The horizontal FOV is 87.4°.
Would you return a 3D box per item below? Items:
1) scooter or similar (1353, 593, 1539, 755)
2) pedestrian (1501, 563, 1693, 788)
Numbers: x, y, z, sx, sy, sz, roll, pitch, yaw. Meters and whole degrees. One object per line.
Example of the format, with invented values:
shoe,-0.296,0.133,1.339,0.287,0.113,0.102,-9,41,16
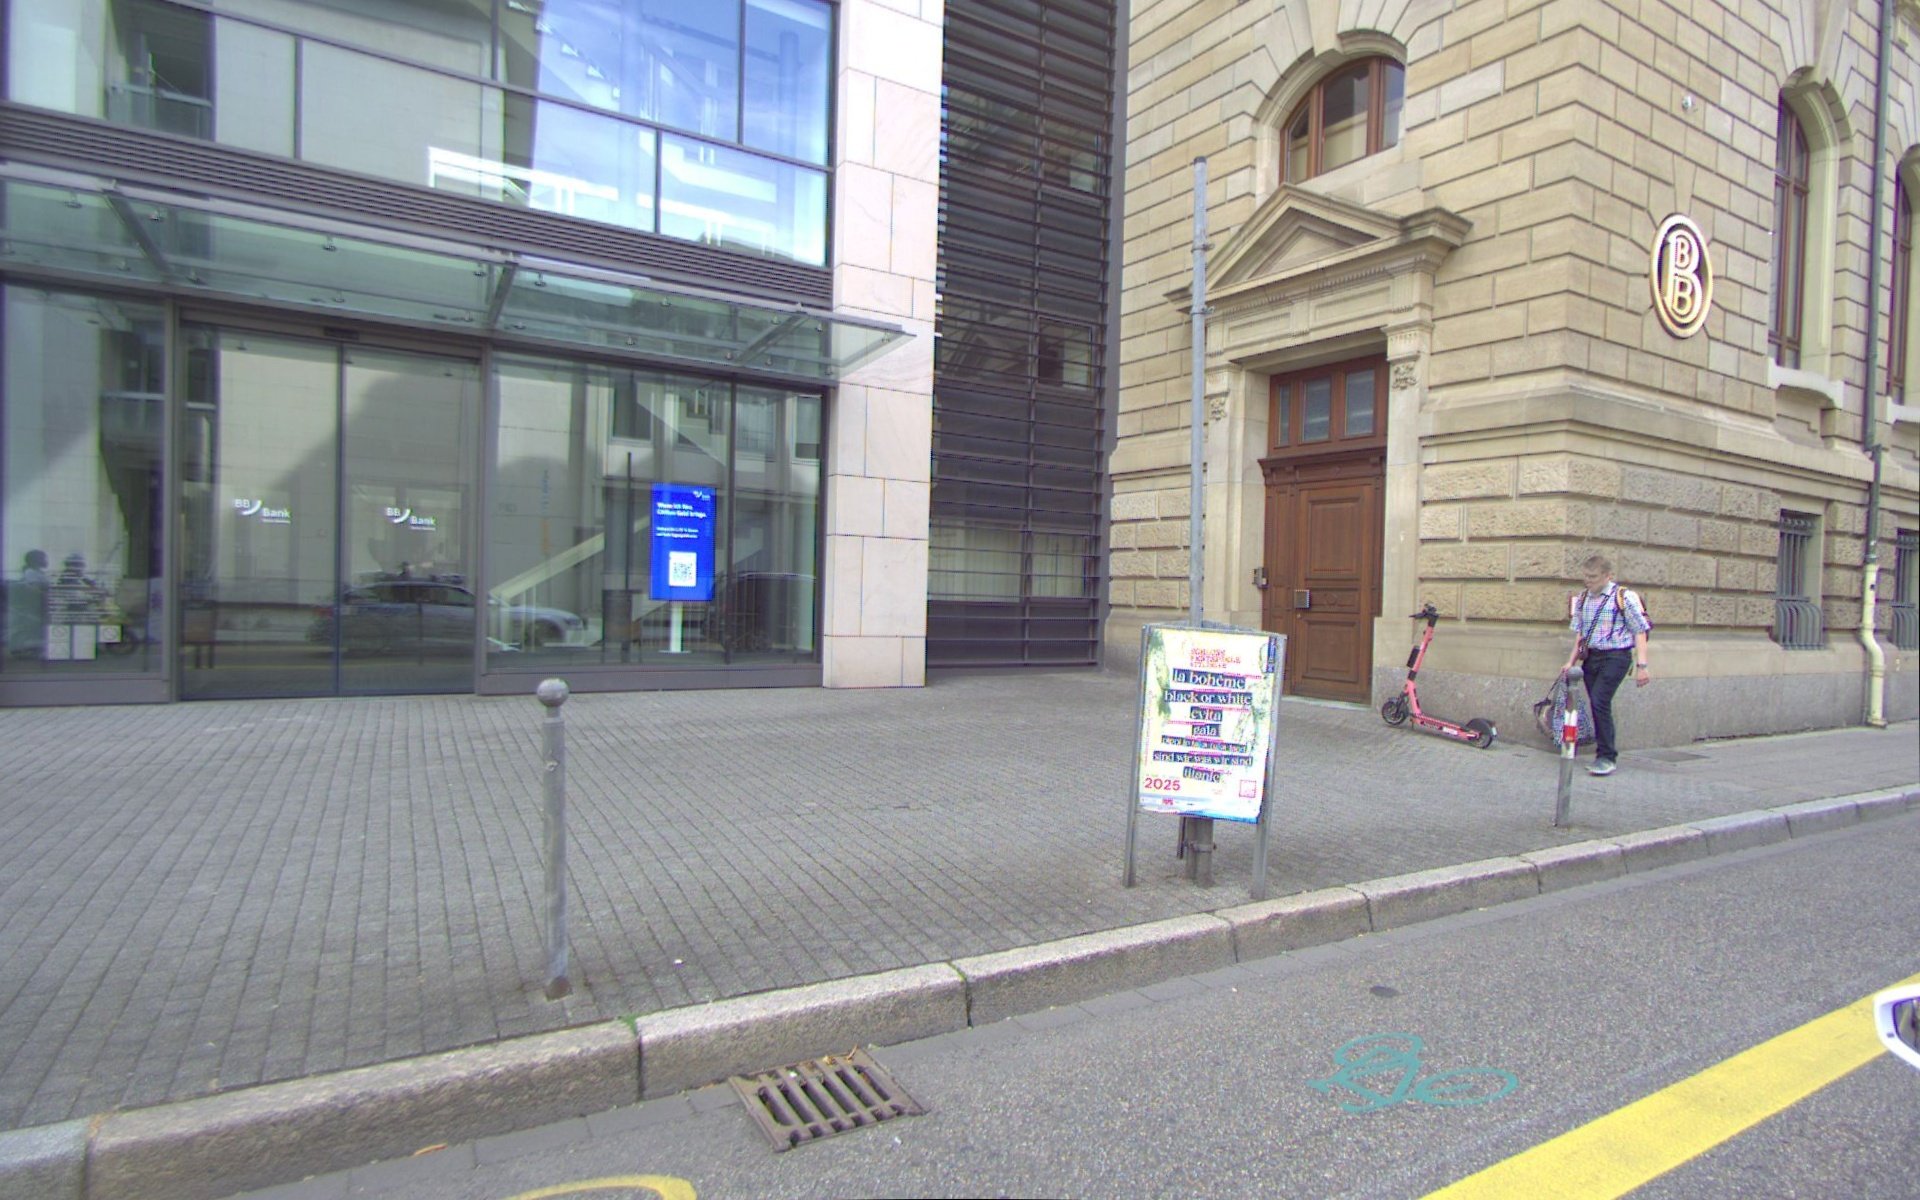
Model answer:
scooter or similar,4.550,0.640,9.507,0.580,1.328,1.439,0,4,-30
pedestrian,5.347,0.588,8.470,0.809,1.743,1.021,2,2,-30
